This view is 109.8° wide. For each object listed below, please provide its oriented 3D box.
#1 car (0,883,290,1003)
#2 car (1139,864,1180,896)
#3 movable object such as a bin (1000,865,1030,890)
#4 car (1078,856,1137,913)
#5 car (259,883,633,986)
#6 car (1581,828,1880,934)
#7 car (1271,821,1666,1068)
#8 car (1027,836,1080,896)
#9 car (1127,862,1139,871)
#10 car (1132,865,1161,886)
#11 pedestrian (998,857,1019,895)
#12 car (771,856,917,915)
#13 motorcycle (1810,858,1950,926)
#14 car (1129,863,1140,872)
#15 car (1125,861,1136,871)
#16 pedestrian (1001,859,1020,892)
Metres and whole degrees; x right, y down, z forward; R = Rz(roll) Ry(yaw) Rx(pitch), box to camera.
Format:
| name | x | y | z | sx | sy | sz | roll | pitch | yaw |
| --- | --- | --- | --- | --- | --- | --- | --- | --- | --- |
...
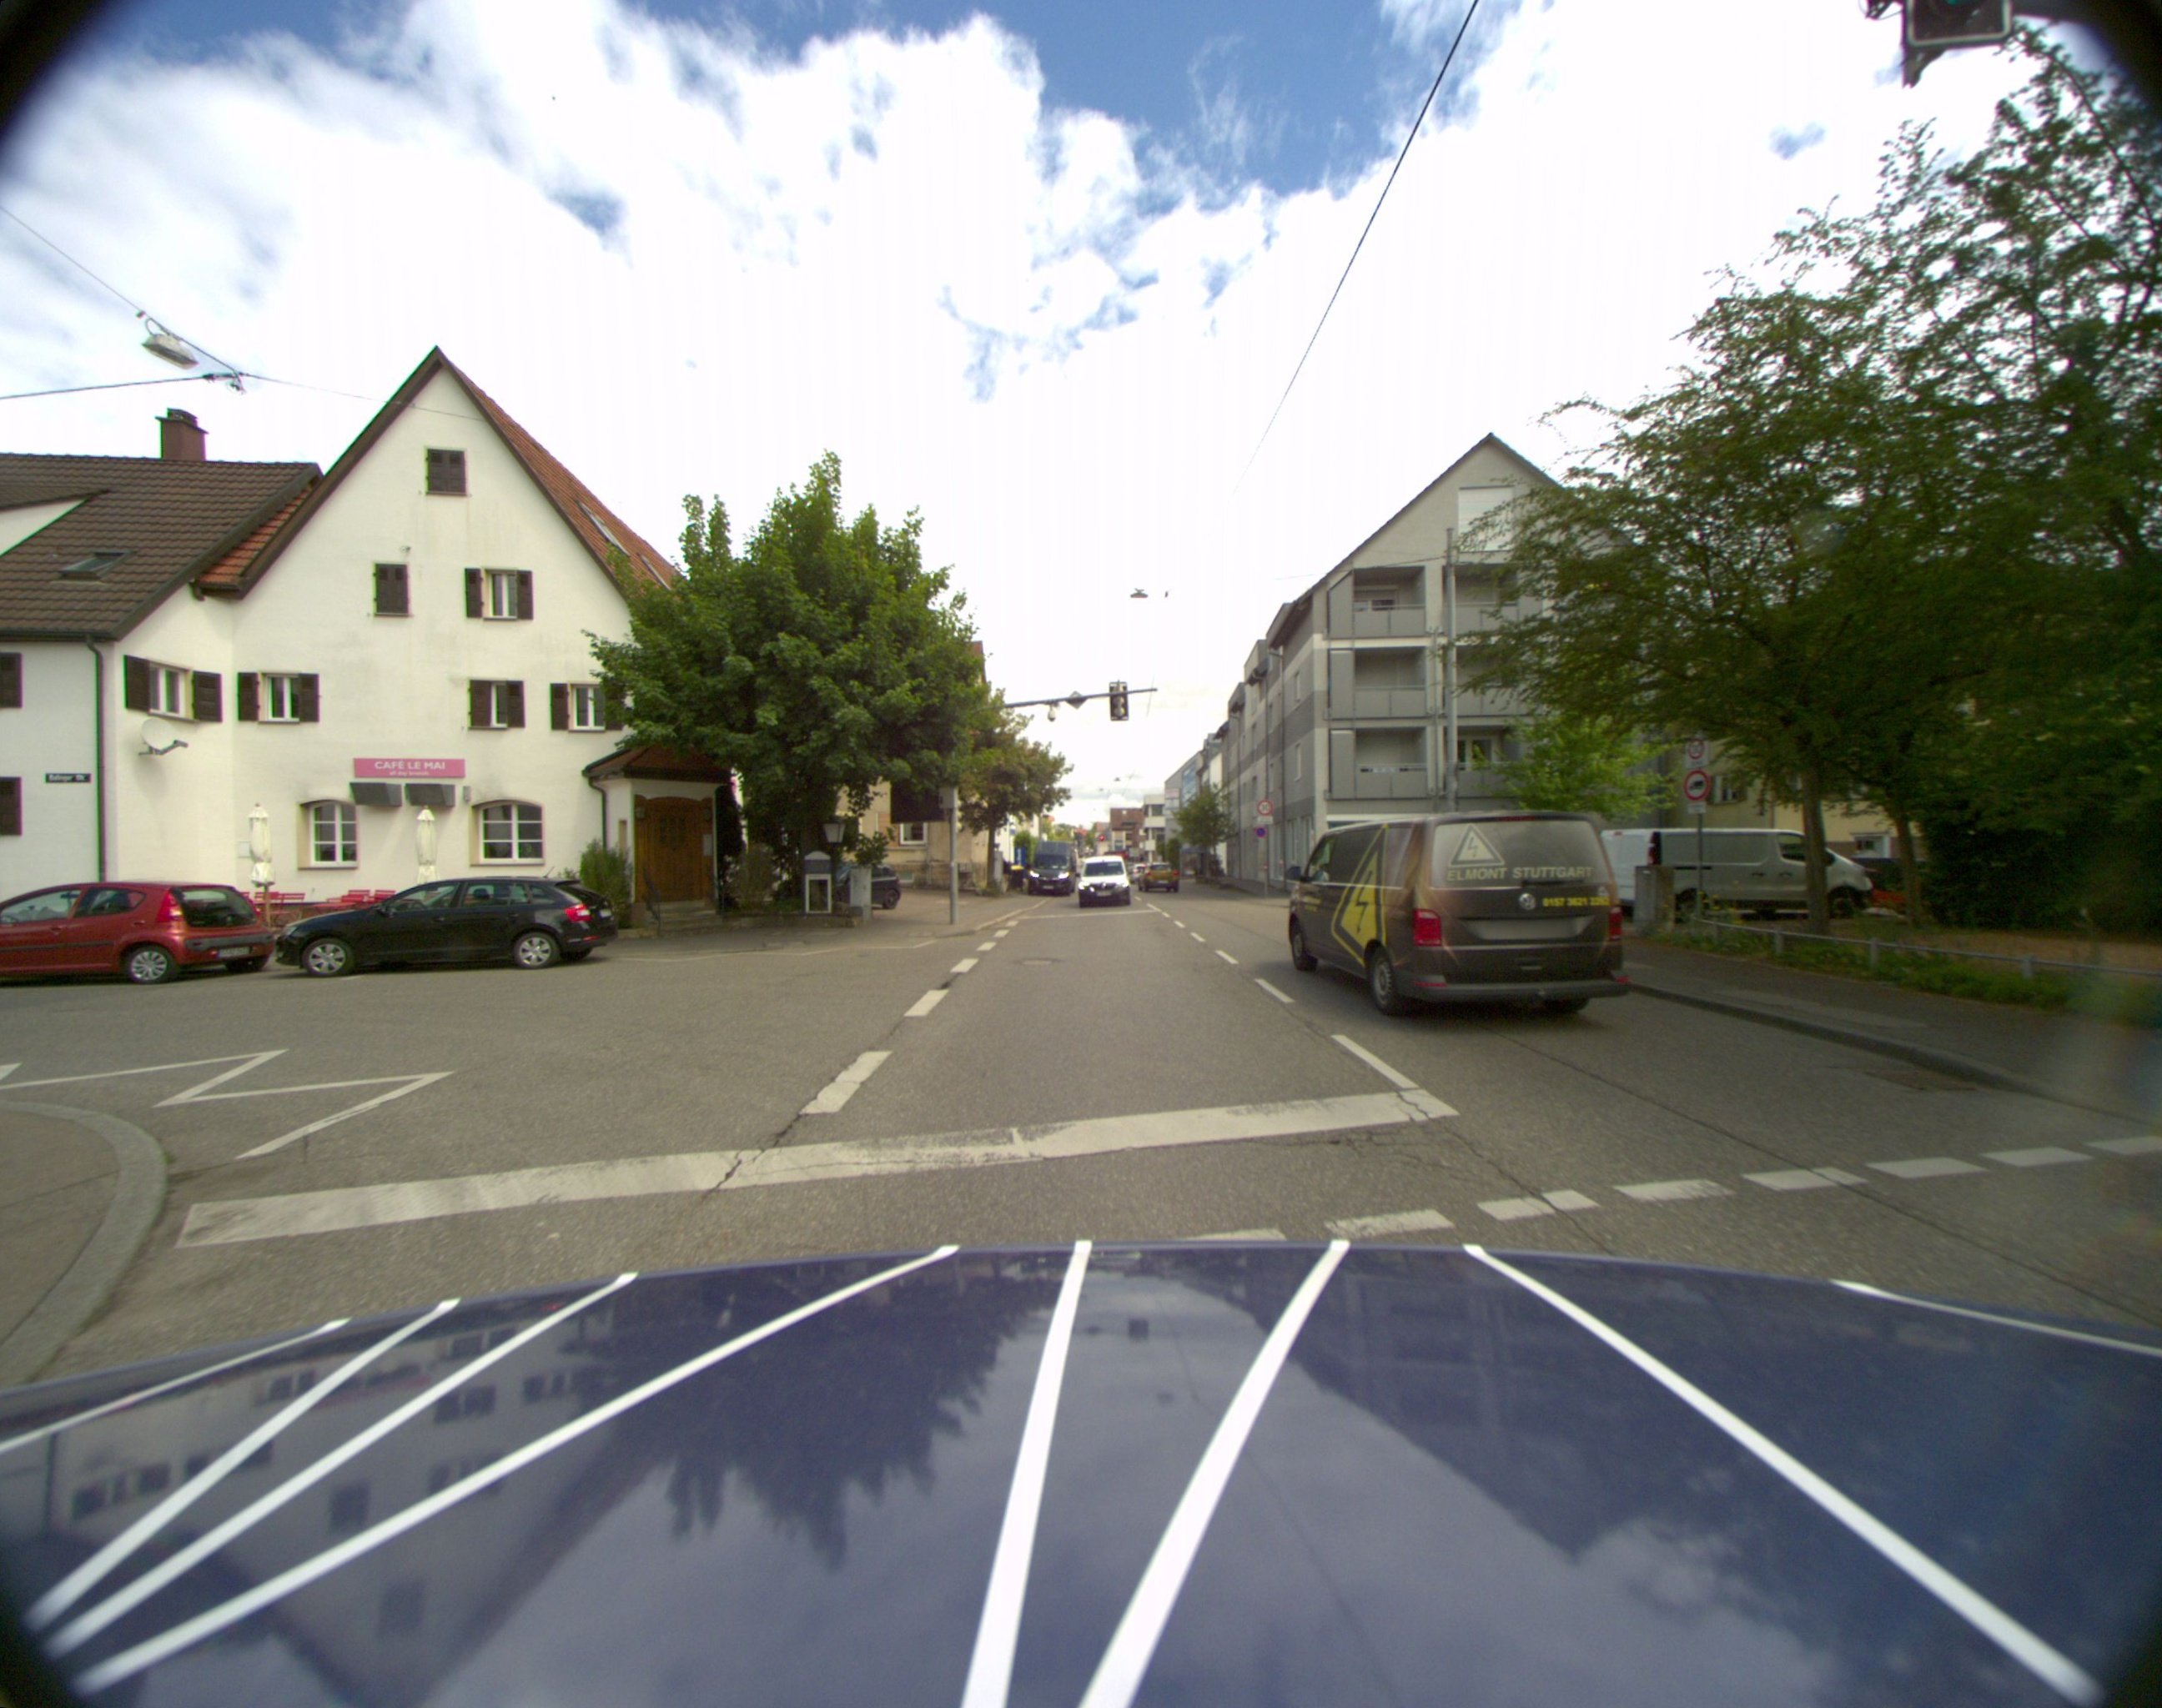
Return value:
| name | x | y | z | sx | sy | sz | roll | pitch | yaw |
| --- | --- | --- | --- | --- | --- | --- | --- | --- | --- |
| car | -14.210 | 1.240 | 11.021 | 3.426 | 1.477 | 1.650 | -1 | 0 | -12 |
| car | 4.075 | 1.346 | 40.056 | 1.732 | 1.528 | 4.001 | -1 | -1 | 1 |
| movable object such as a bin | -3.555 | 1.251 | 40.634 | 1.188 | 1.258 | 1.207 | -1 | 0 | -30 |
| car | 0.887 | 1.015 | 27.261 | 1.871 | 1.804 | 5.007 | -1 | -1 | 1 |
| car | -9.743 | 1.186 | 12.075 | 4.187 | 1.407 | 1.777 | 0 | -2 | -15 |
| car | 13.750 | 0.551 | 16.318 | 4.633 | 1.997 | 2.095 | -1 | 0 | -1 |
| car | 3.653 | 0.740 | 8.366 | 1.882 | 1.901 | 4.752 | -1 | -1 | 0 |
| car | -1.307 | 0.588 | 38.846 | 2.153 | 2.754 | 6.251 | -1 | 0 | 3 |
| car | 9.101 | 2.206 | 132.359 | 1.808 | 1.521 | 4.002 | -1 | 0 | 7 |
| car | 4.743 | 1.571 | 55.578 | 1.879 | 1.416 | 4.116 | -1 | -1 | 1 |
| pedestrian | -3.460 | 1.031 | 36.347 | 0.742 | 1.772 | 0.900 | -1 | 0 | 8 |
| car | -6.908 | 0.911 | 22.600 | 1.752 | 1.508 | 4.087 | 3 | -1 | 26 |
| motorcycle | 17.046 | 0.767 | 16.303 | 0.843 | 1.325 | 2.136 | -1 | 0 | 4 |
| car | 8.810 | 2.236 | 125.584 | 1.840 | 1.418 | 4.219 | -1 | 0 | 3 |
| car | 8.898 | 2.149 | 137.434 | 1.701 | 1.766 | 4.463 | -1 | 0 | 7 |
| pedestrian | -3.516 | 1.068 | 37.838 | 0.786 | 1.633 | 0.798 | -1 | 0 | 7 |
